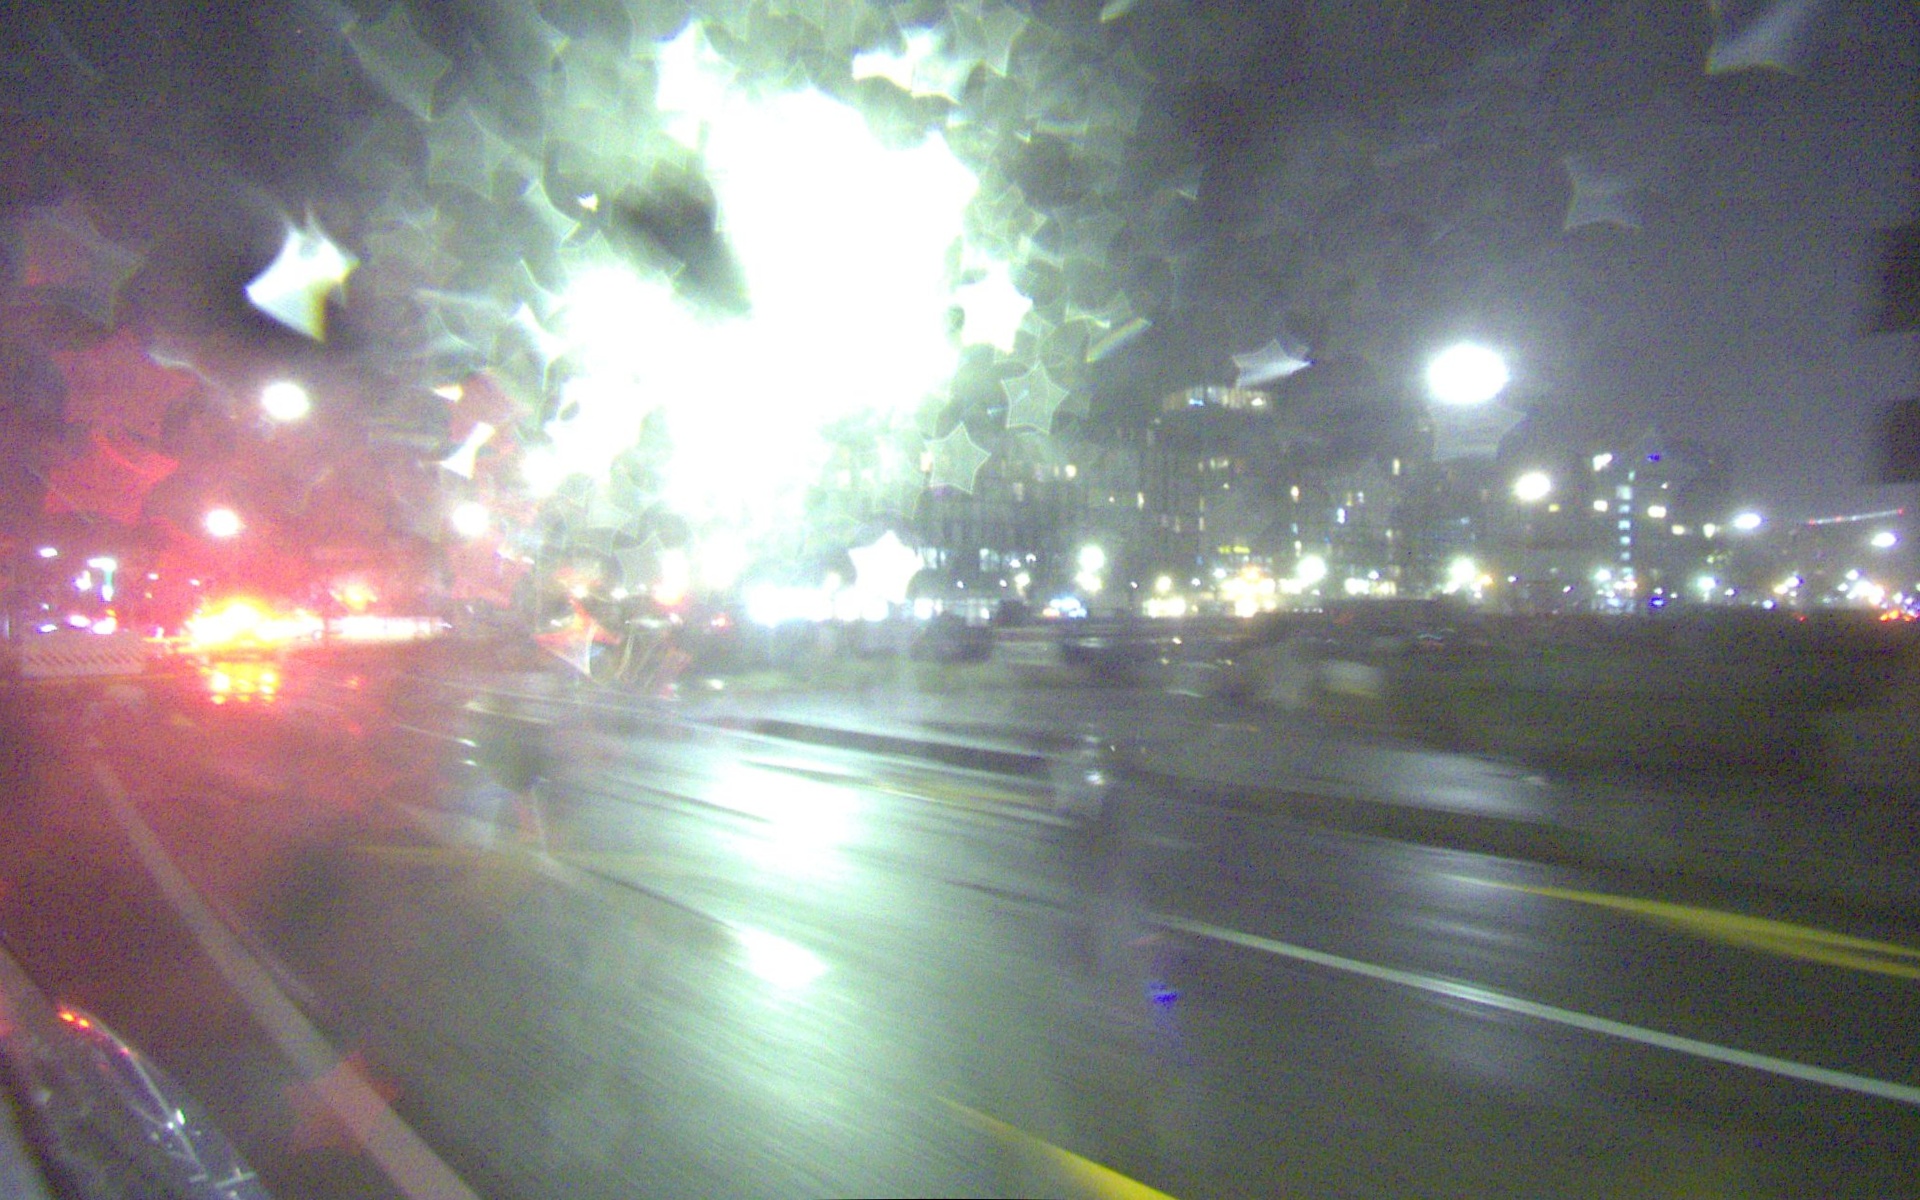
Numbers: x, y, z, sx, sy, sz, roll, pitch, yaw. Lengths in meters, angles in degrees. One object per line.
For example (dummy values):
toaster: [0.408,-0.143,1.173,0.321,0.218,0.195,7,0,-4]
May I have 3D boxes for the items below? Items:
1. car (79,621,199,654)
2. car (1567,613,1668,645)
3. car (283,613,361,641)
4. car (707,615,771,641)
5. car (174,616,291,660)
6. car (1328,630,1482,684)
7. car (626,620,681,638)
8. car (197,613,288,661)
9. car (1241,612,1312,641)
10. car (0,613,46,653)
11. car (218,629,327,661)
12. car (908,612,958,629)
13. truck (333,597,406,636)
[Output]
car: [-40.136,1.807,49.594,1.984,1.545,4.160,0,-1,18]
car: [37.935,1.665,58.488,1.967,1.634,4.443,1,1,-36]
car: [-37.637,1.584,59.854,1.972,1.545,4.185,1,-2,0]
car: [-15.344,1.926,70.341,3.931,1.788,2.006,0,-1,-30]
car: [-28.545,1.470,39.906,2.035,1.634,4.644,1,-2,-12]
car: [12.124,1.511,27.813,1.510,1.345,3.833,0,-1,-25]
car: [-27.125,2.587,89.502,4.351,1.545,2.006,1,-2,-25]
car: [-24.632,1.252,34.677,1.969,1.466,4.308,6,-5,-42]
car: [21.860,1.813,70.073,2.293,1.749,4.328,3,0,-26]
car: [-39.938,1.316,40.213,1.997,1.594,5.132,-1,-1,37]
car: [-34.422,2.217,50.841,1.632,1.477,4.617,-1,-1,15]
car: [-2.626,2.006,98.324,4.354,1.634,2.006,1,-2,-25]
truck: [-39.223,1.132,67.489,2.283,2.415,7.835,1,-2,-16]
